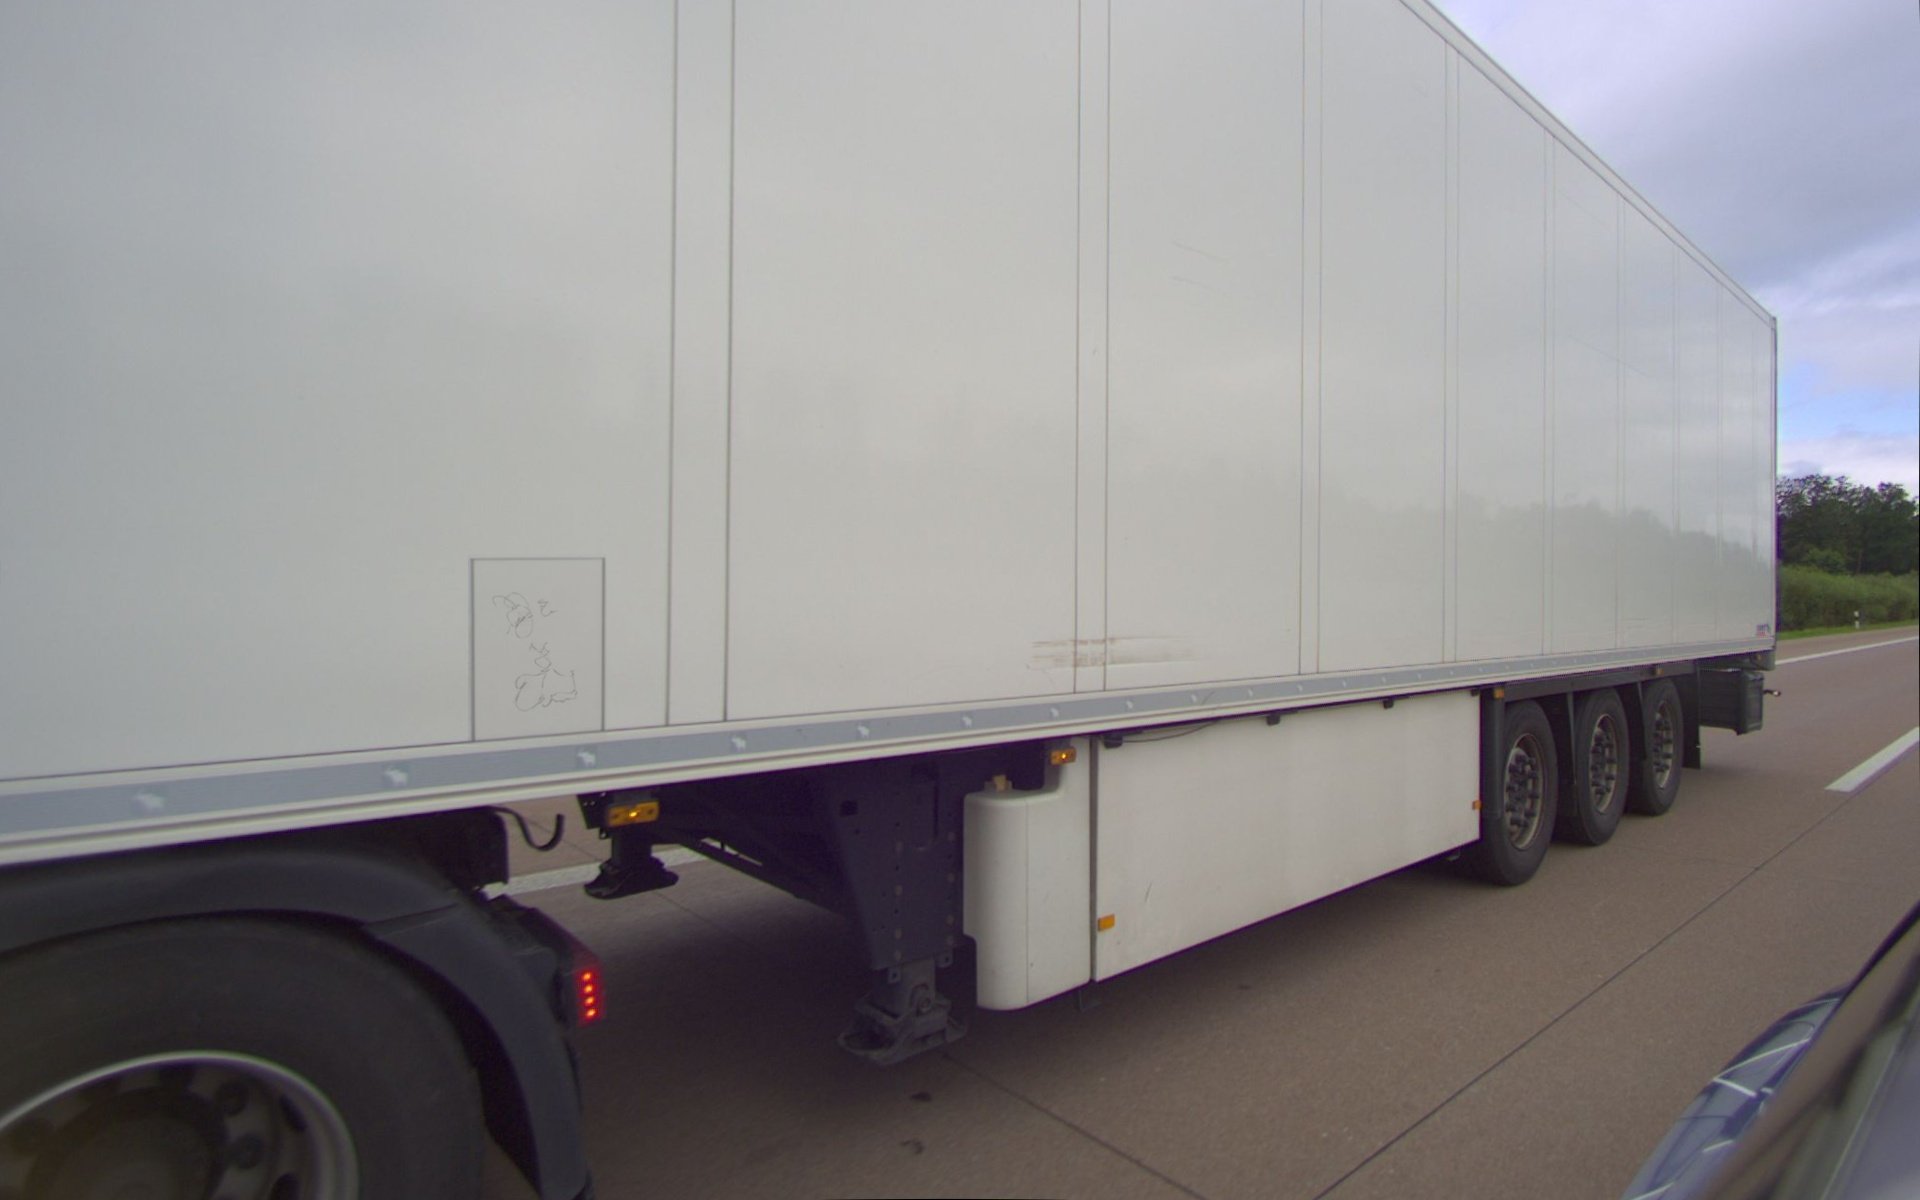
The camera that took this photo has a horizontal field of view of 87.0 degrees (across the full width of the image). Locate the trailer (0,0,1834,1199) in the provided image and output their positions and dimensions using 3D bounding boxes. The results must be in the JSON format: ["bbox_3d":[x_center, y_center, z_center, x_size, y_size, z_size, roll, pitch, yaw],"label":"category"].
[{"bbox_3d":[1.374,-0.814,5.225,13.376,4.348,2.926,0,0,-41],"label":"trailer"}]
